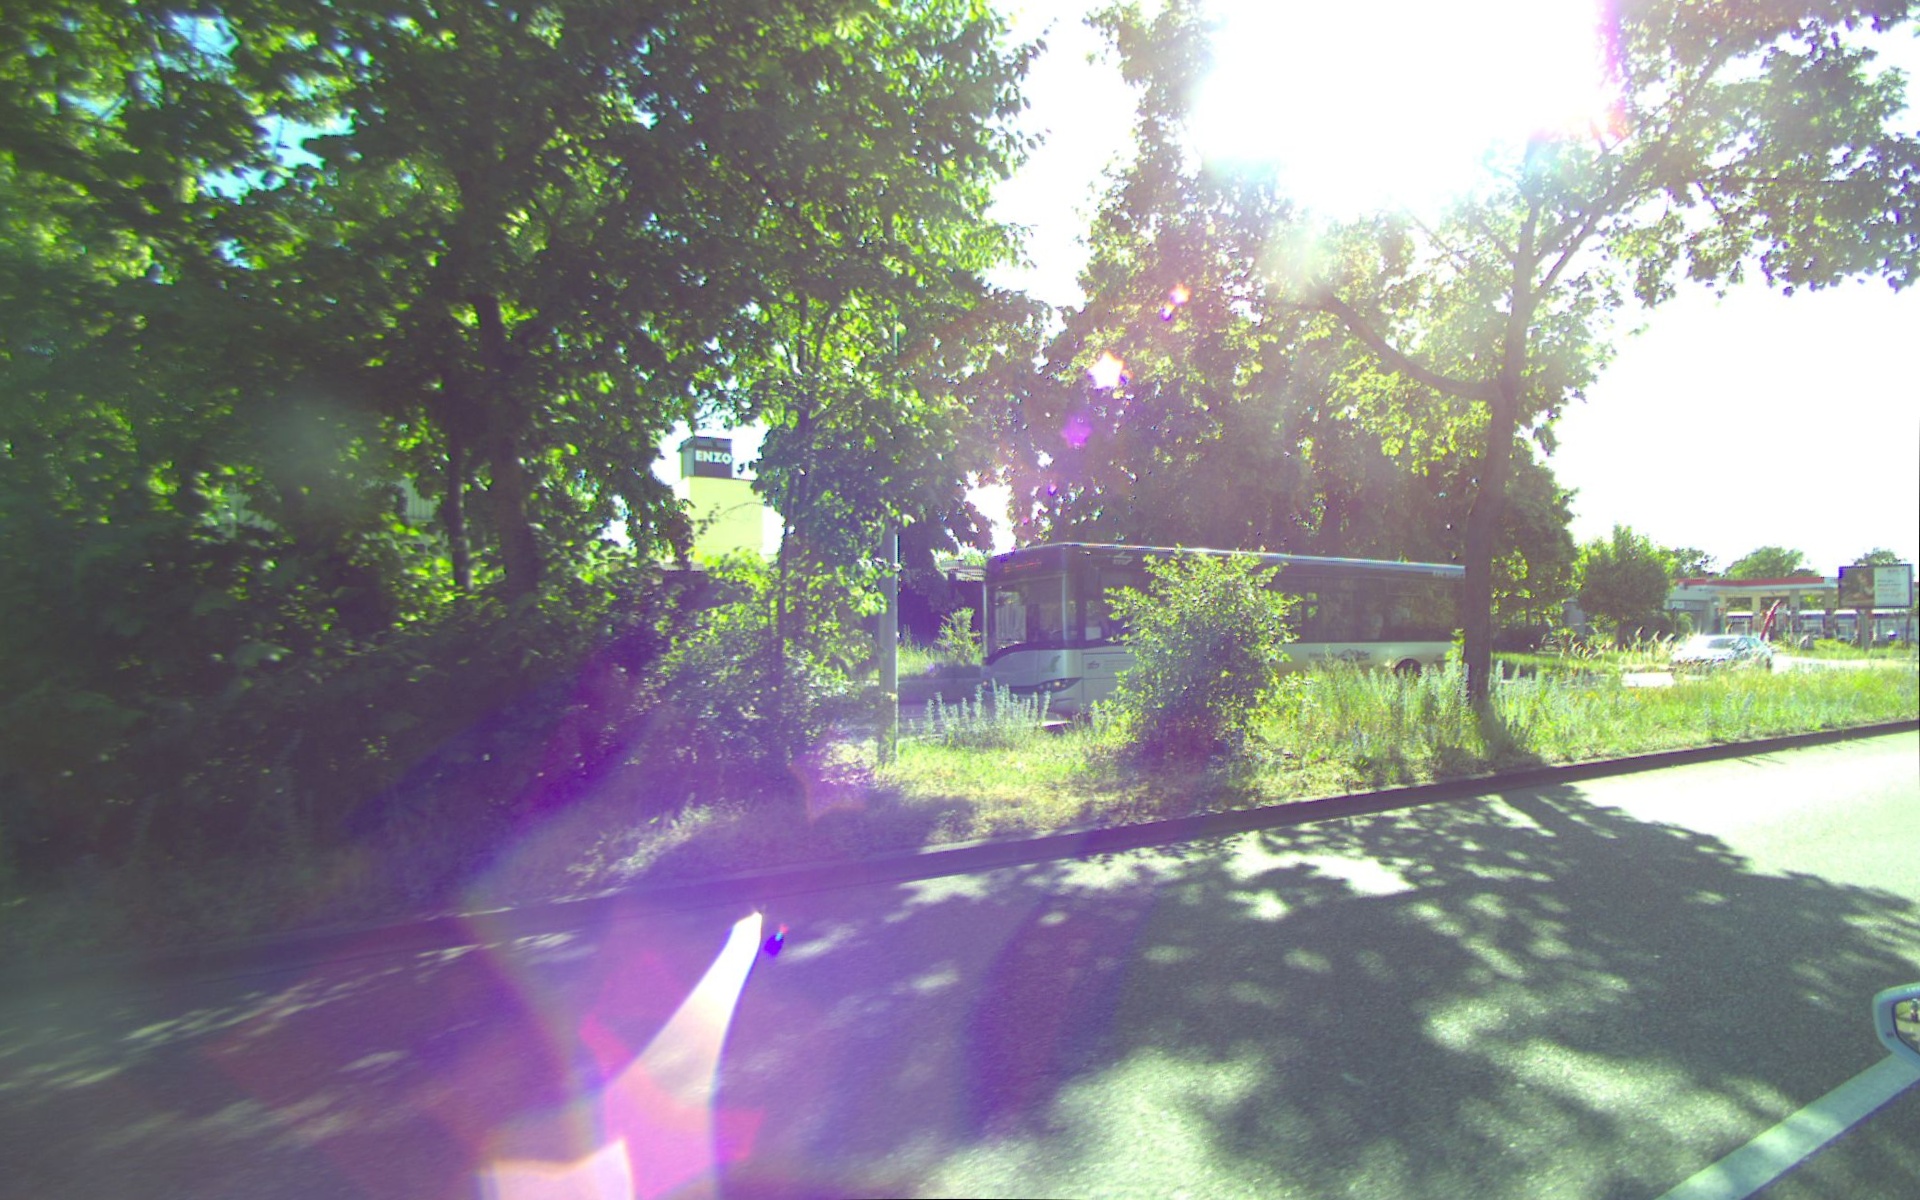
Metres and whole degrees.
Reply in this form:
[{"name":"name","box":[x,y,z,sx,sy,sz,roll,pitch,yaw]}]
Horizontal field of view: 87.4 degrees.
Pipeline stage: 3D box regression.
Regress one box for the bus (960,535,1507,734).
[{"name":"bus","box":[5.366,0.620,18.026,10.964,2.756,2.708,1,-4,-32]}]

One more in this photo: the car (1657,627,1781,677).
[{"name":"car","box":[25.628,1.748,33.892,4.477,1.540,1.747,0,-4,-31]}]

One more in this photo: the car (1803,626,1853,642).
[{"name":"car","box":[108.813,4.258,125.970,1.979,1.867,4.358,1,-2,-33]}]
